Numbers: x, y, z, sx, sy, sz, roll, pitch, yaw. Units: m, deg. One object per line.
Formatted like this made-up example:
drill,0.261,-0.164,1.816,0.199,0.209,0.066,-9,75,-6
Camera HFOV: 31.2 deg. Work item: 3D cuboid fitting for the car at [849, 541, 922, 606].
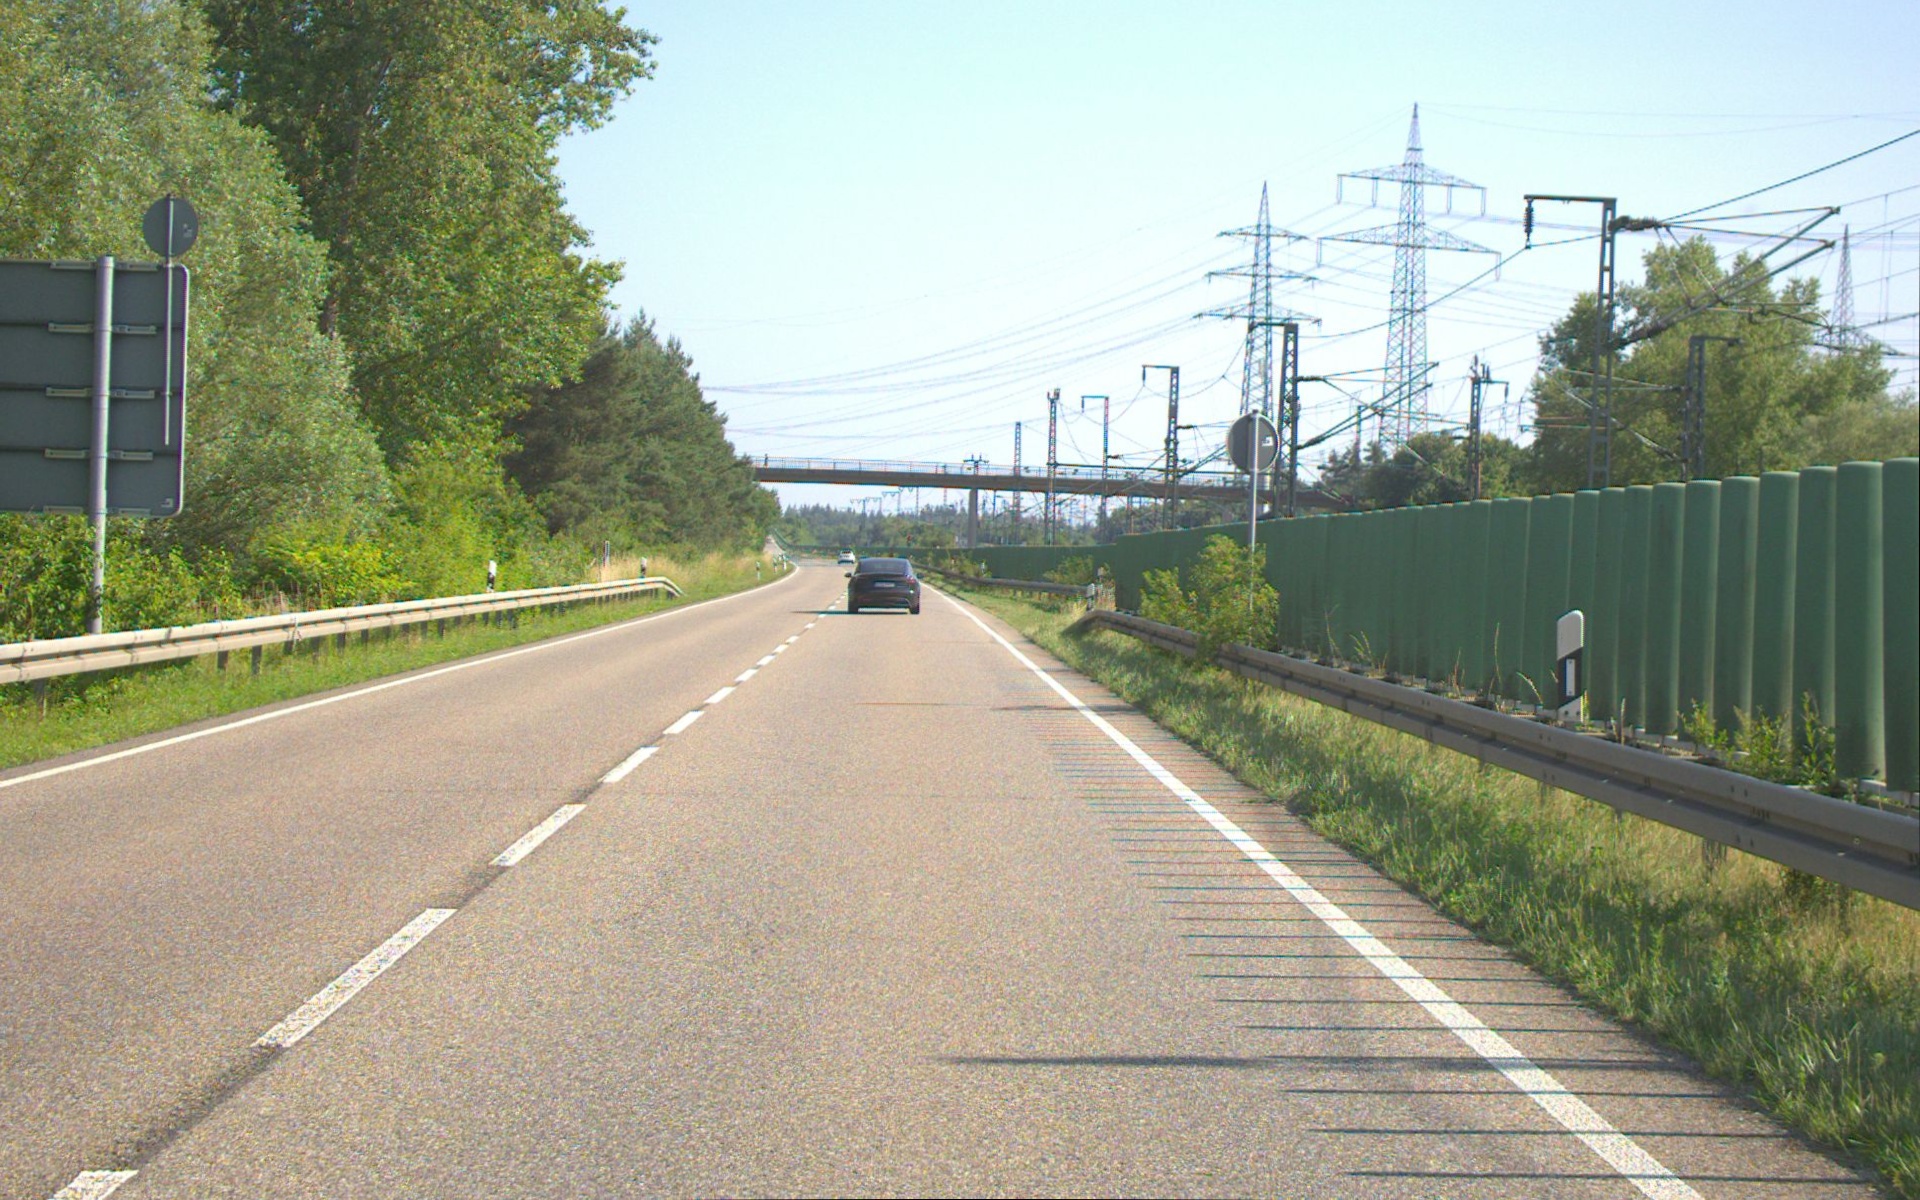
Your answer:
car,-1.938,-0.694,88.812,1.858,1.636,4.000,0,1,-2
